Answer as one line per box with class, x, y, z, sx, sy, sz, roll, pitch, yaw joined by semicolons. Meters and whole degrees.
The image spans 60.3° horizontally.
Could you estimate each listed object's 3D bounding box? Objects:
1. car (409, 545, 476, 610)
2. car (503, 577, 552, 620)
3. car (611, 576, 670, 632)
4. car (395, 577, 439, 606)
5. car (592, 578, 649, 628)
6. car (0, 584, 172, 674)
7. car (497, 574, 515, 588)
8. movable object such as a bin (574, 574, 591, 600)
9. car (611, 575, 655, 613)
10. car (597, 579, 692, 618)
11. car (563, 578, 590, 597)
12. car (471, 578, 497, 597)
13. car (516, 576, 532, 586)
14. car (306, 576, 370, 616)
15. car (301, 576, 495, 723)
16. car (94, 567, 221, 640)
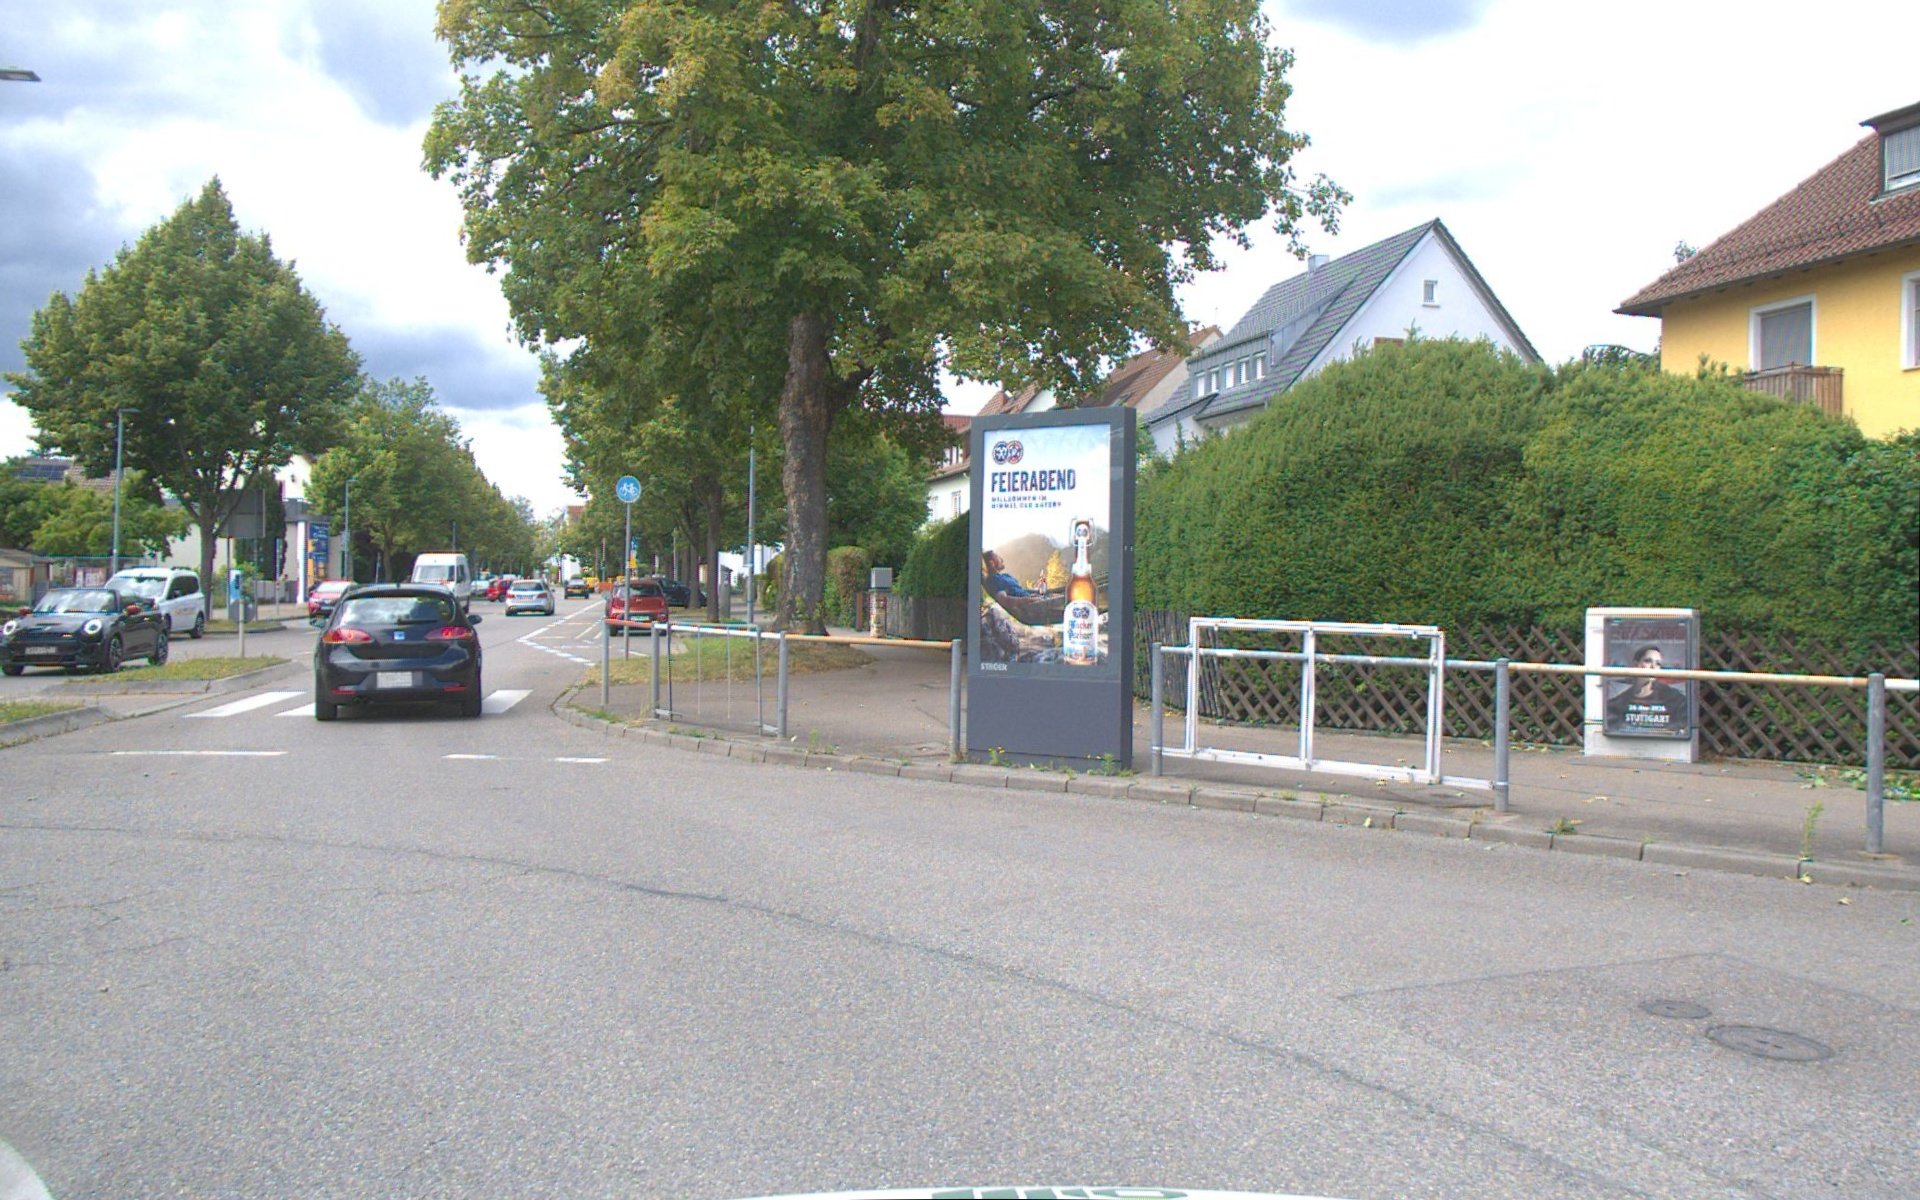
car;-22.578;-1.002;72.362;1.982;2.720;5.794;0;1;-9
car;-18.123;-0.085;69.478;1.873;1.715;3.727;-1;1;-13
car;-8.859;0.105;45.816;1.537;1.481;3.658;0;0;-11
car;-29.614;-0.489;90.296;1.699;1.494;4.291;-1;1;-10
car;-10.535;0.069;51.176;1.624;1.440;4.164;-1;1;-13
car;-14.674;0.437;27.853;1.544;1.386;3.735;0;1;-9
car;-60.069;-2.519;218.686;1.931;1.862;4.806;0;1;-11
movable object such as a bin;-38.229;-1.352;167.481;1.738;2.619;3.727;0;1;-13
car;-13.291;-0.265;67.167;1.624;1.440;4.164;-1;1;-13
car;-14.534;-0.074;76.204;4.150;1.666;1.685;-1;1;-17
car;-28.740;-0.948;123.864;1.780;1.399;3.678;0;1;-16
car;-36.658;-0.972;127.343;1.614;1.445;4.008;-1;1;-12
car;-64.572;-2.836;244.898;1.785;1.440;3.668;0;1;-22
car;-25.537;-0.197;68.027;1.654;1.568;4.123;0;1;-9
car;-6.462;0.470;18.789;1.795;1.463;3.713;-1;1;-23
car;-20.895;0.063;43.248;1.738;1.801;4.542;0;1;-9
